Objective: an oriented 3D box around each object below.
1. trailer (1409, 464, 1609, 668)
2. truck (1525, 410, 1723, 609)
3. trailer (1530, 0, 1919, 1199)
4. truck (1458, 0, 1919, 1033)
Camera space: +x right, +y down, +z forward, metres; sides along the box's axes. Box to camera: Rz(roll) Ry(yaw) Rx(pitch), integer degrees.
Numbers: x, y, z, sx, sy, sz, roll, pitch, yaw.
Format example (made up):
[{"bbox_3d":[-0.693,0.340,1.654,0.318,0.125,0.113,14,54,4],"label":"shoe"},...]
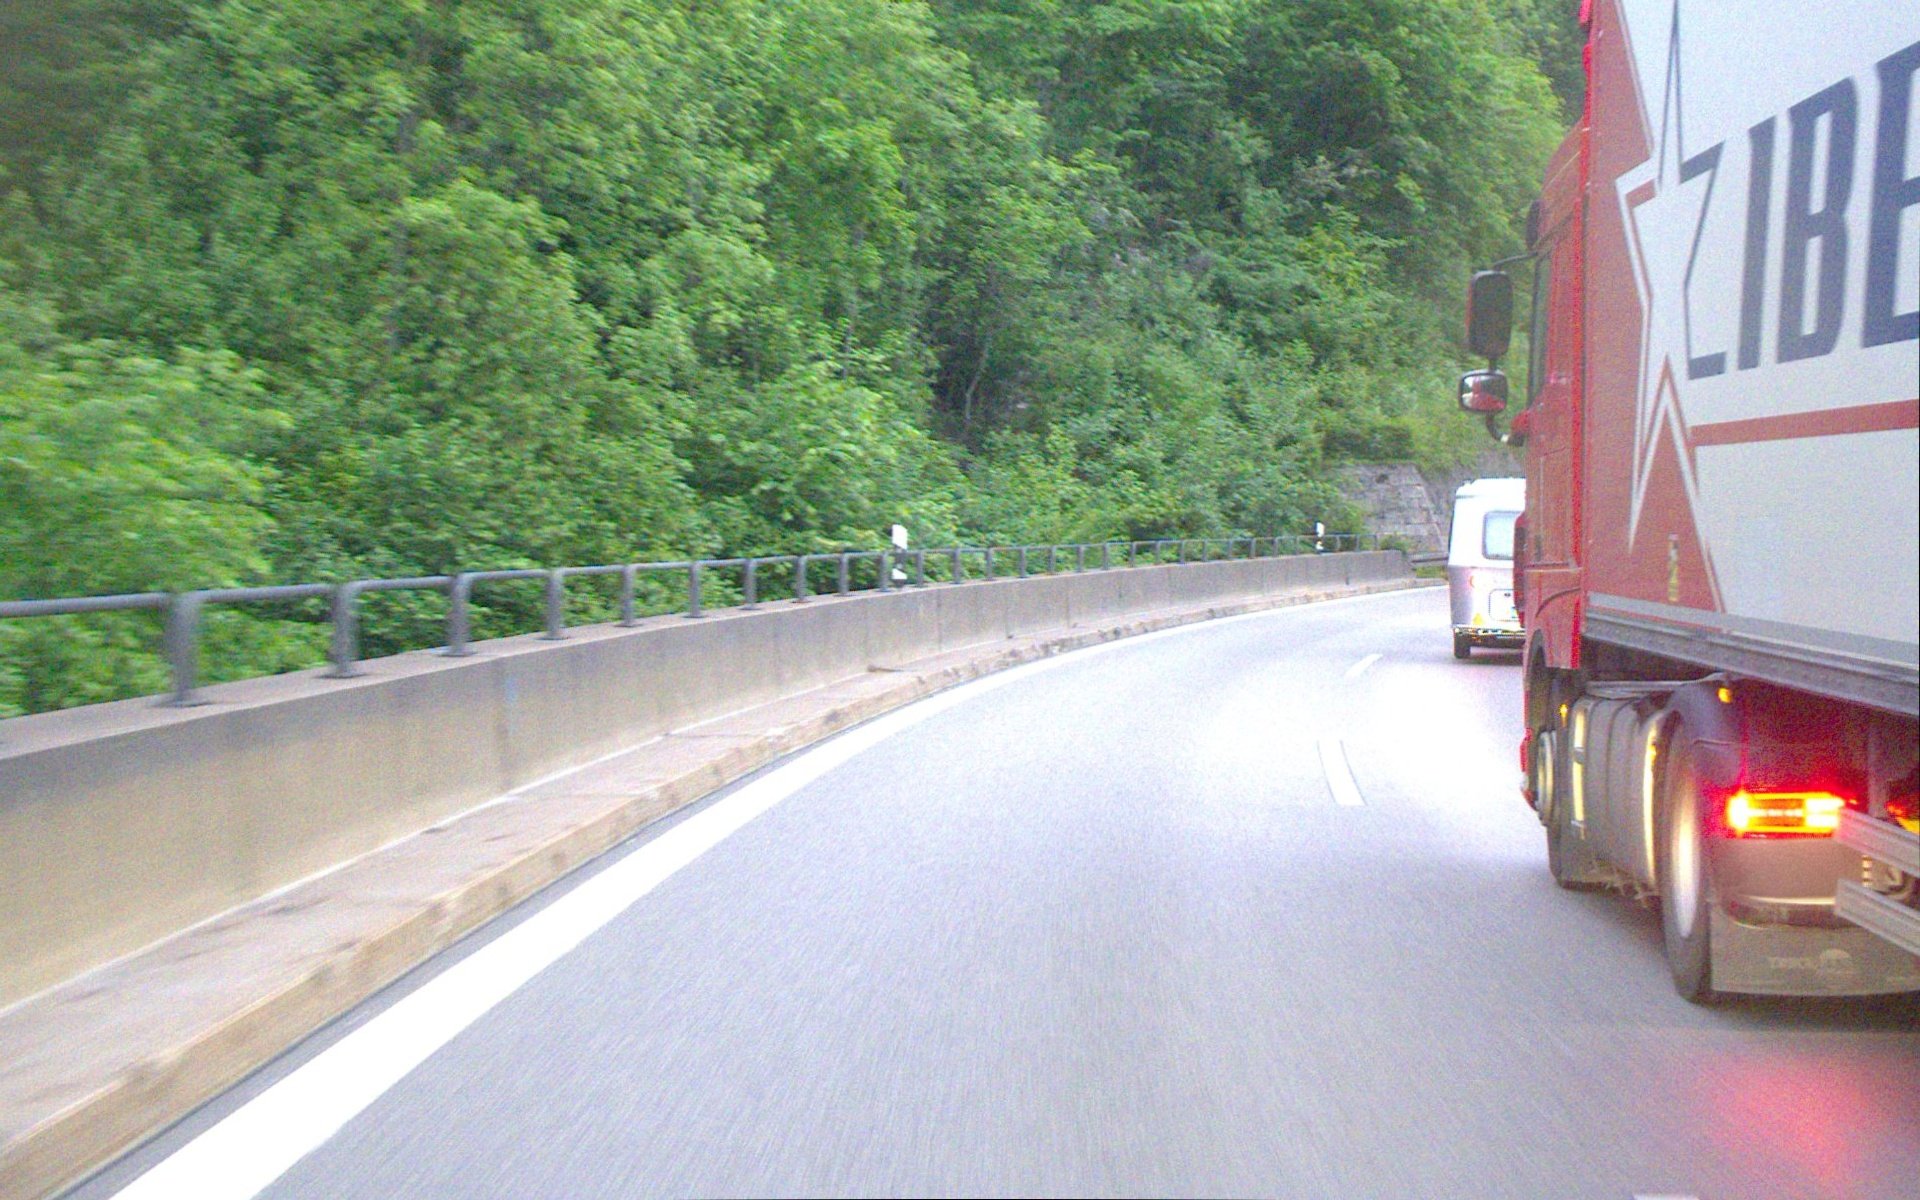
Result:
[{"bbox_3d":[6.888,-0.495,43.716,2.055,2.366,5.937,2,2,5],"label":"trailer"},{"bbox_3d":[16.154,-2.048,82.504,3.297,4.159,16.491,-3,0,15],"label":"truck"},{"bbox_3d":[3.747,-0.528,7.100,3.097,3.956,14.218,0,1,1],"label":"trailer"},{"bbox_3d":[4.024,-0.678,14.251,3.069,4.130,6.446,2,1,2],"label":"truck"}]
